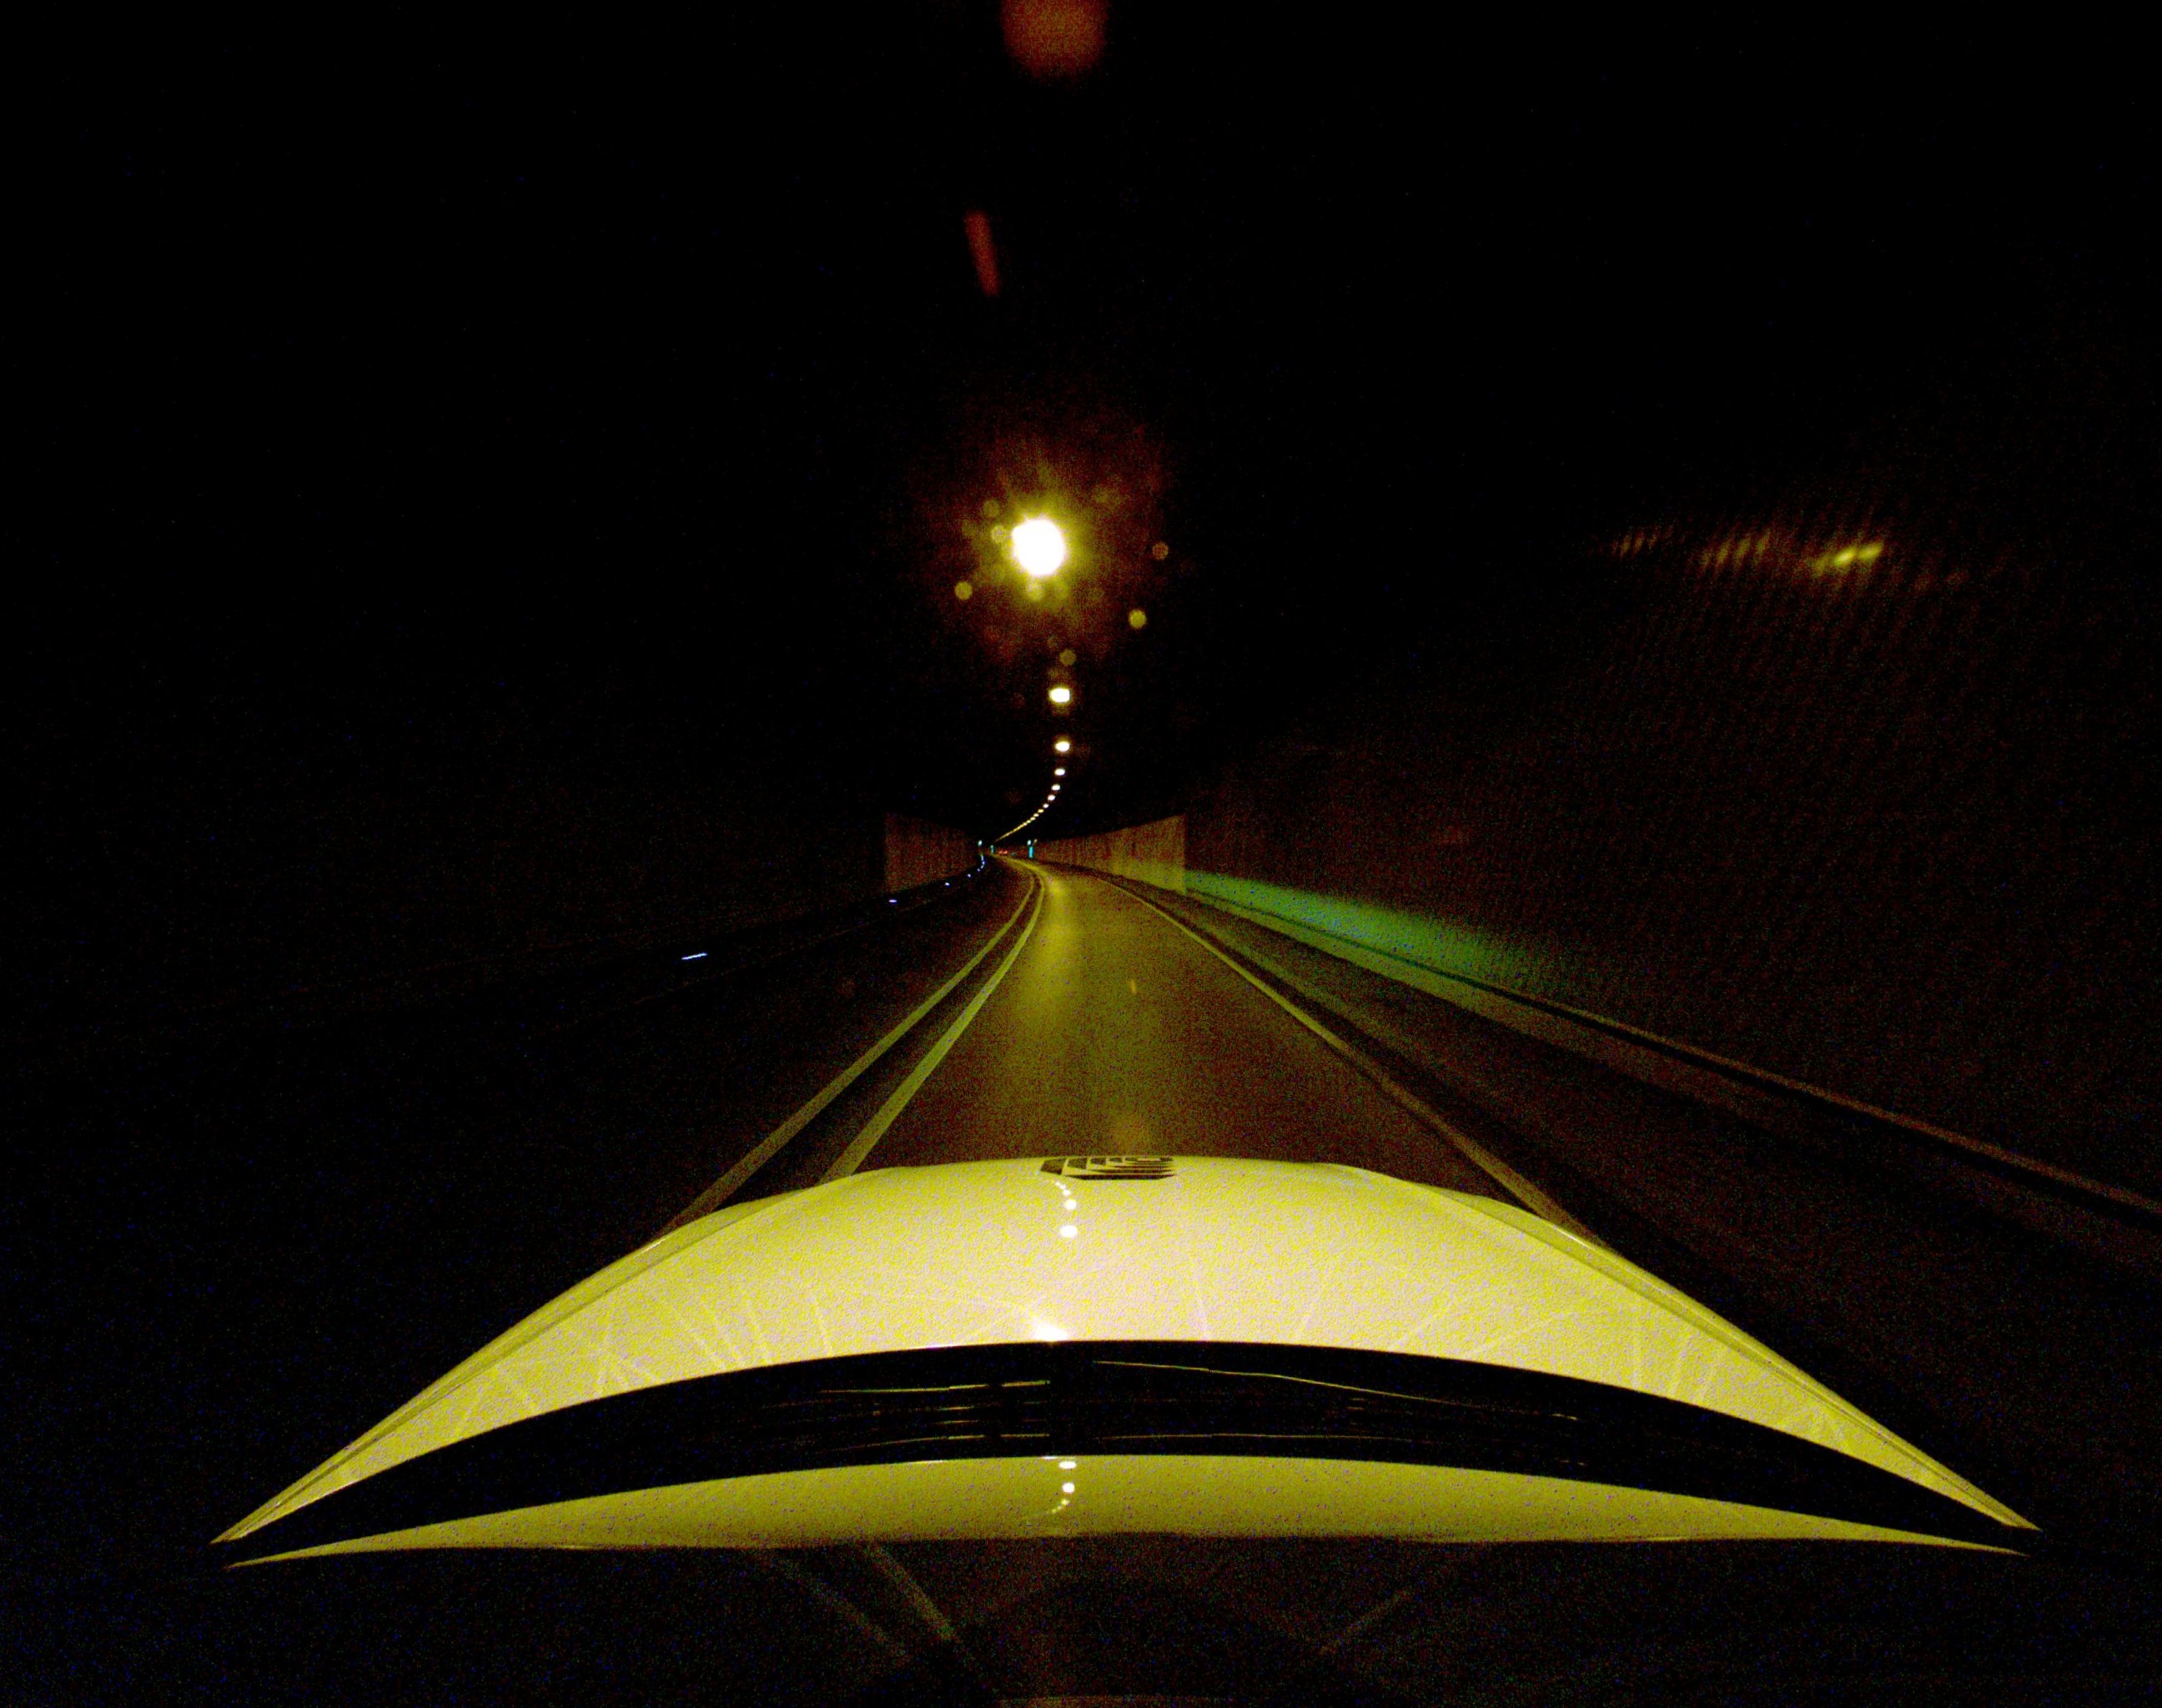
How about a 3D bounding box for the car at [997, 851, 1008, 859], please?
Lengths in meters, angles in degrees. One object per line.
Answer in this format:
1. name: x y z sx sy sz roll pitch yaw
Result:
1. car: -20.133 0.291 209.555 1.971 1.939 4.588 2 -1 -16
